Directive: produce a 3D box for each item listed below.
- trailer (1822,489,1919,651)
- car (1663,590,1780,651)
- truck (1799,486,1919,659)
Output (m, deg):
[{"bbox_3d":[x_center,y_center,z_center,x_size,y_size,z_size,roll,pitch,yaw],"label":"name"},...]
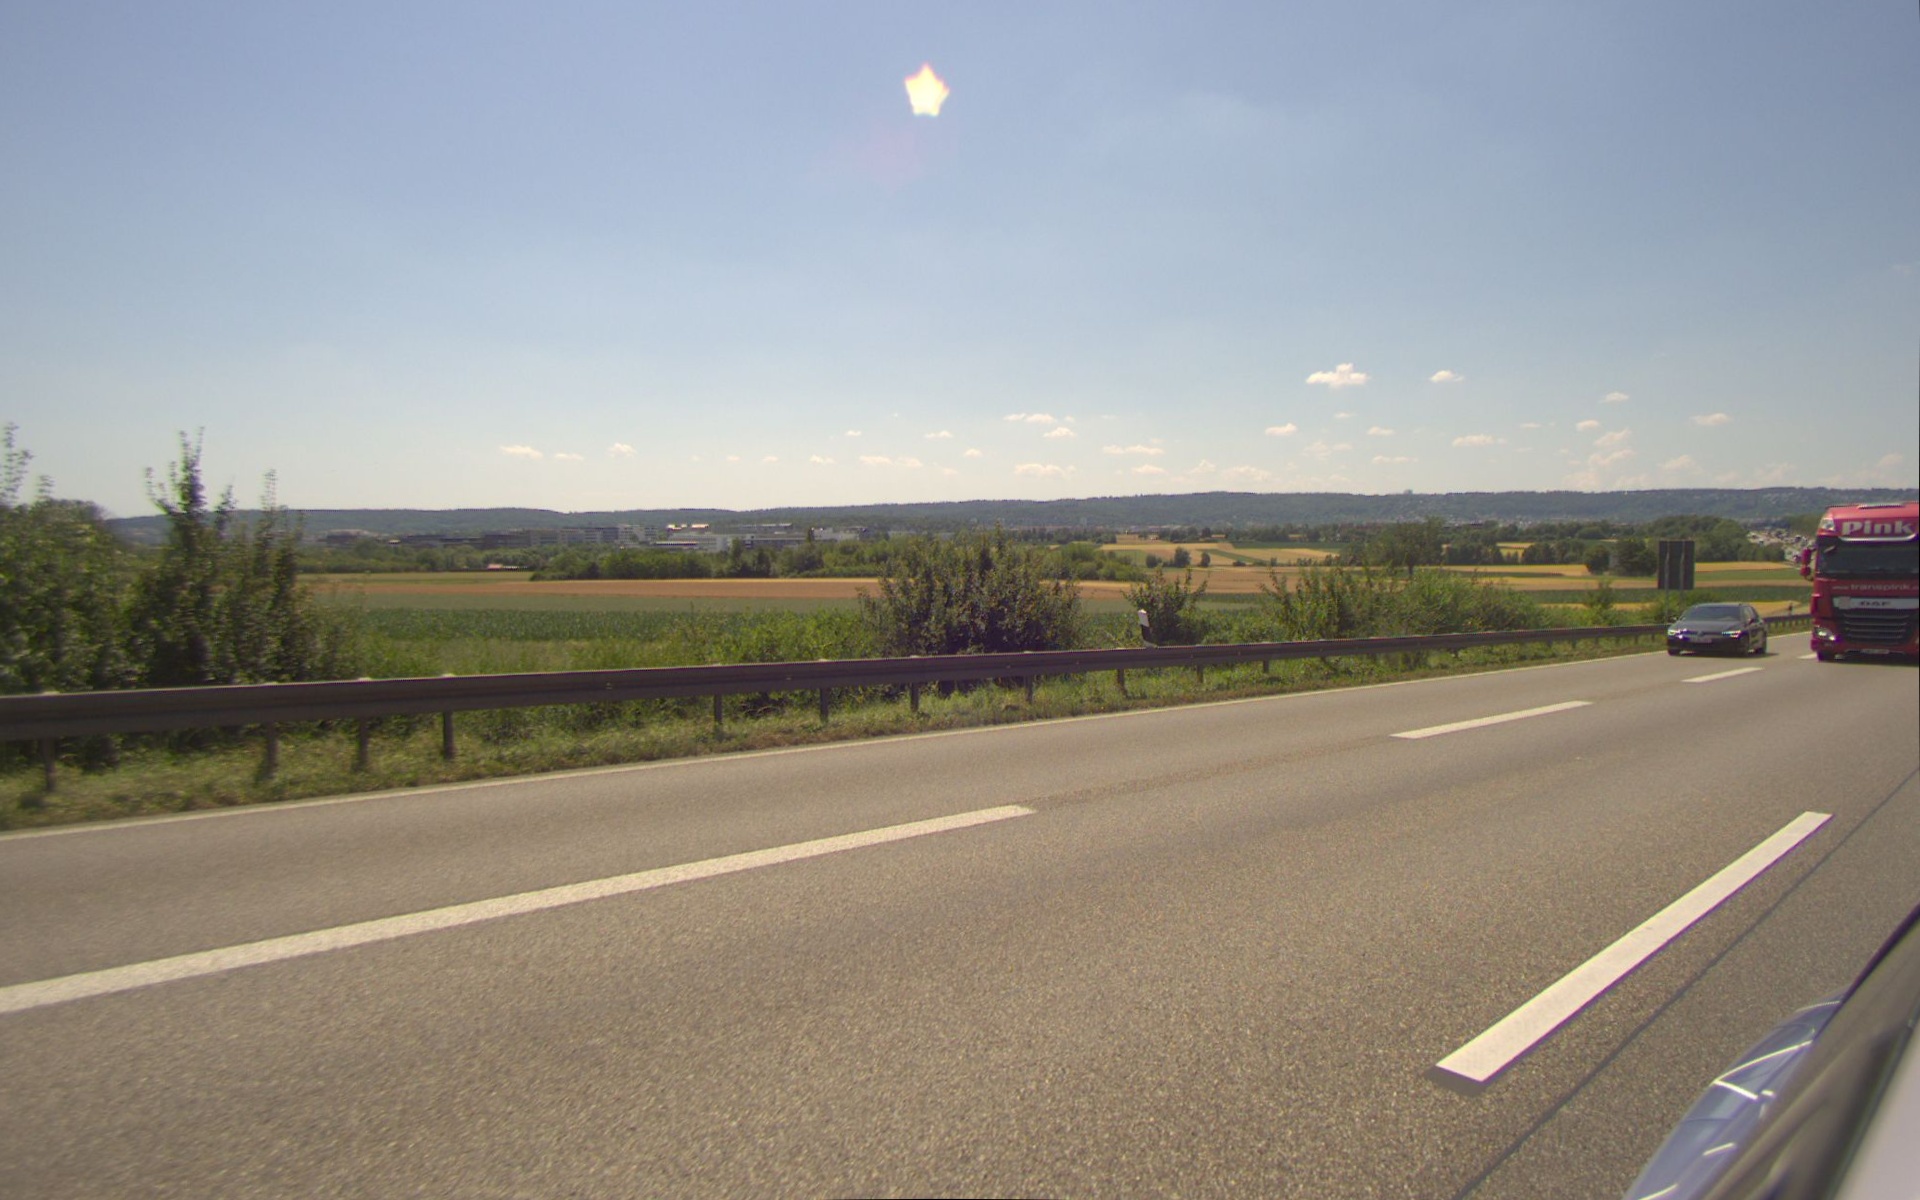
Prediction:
[{"bbox_3d":[29.560,-0.918,31.017,13.620,4.169,2.923,-2,1,-42],"label":"trailer"},{"bbox_3d":[21.478,0.531,28.484,3.933,1.571,2.034,0,0,-44],"label":"car"},{"bbox_3d":[24.374,-0.712,26.367,6.399,4.059,2.920,-1,1,-42],"label":"truck"}]
